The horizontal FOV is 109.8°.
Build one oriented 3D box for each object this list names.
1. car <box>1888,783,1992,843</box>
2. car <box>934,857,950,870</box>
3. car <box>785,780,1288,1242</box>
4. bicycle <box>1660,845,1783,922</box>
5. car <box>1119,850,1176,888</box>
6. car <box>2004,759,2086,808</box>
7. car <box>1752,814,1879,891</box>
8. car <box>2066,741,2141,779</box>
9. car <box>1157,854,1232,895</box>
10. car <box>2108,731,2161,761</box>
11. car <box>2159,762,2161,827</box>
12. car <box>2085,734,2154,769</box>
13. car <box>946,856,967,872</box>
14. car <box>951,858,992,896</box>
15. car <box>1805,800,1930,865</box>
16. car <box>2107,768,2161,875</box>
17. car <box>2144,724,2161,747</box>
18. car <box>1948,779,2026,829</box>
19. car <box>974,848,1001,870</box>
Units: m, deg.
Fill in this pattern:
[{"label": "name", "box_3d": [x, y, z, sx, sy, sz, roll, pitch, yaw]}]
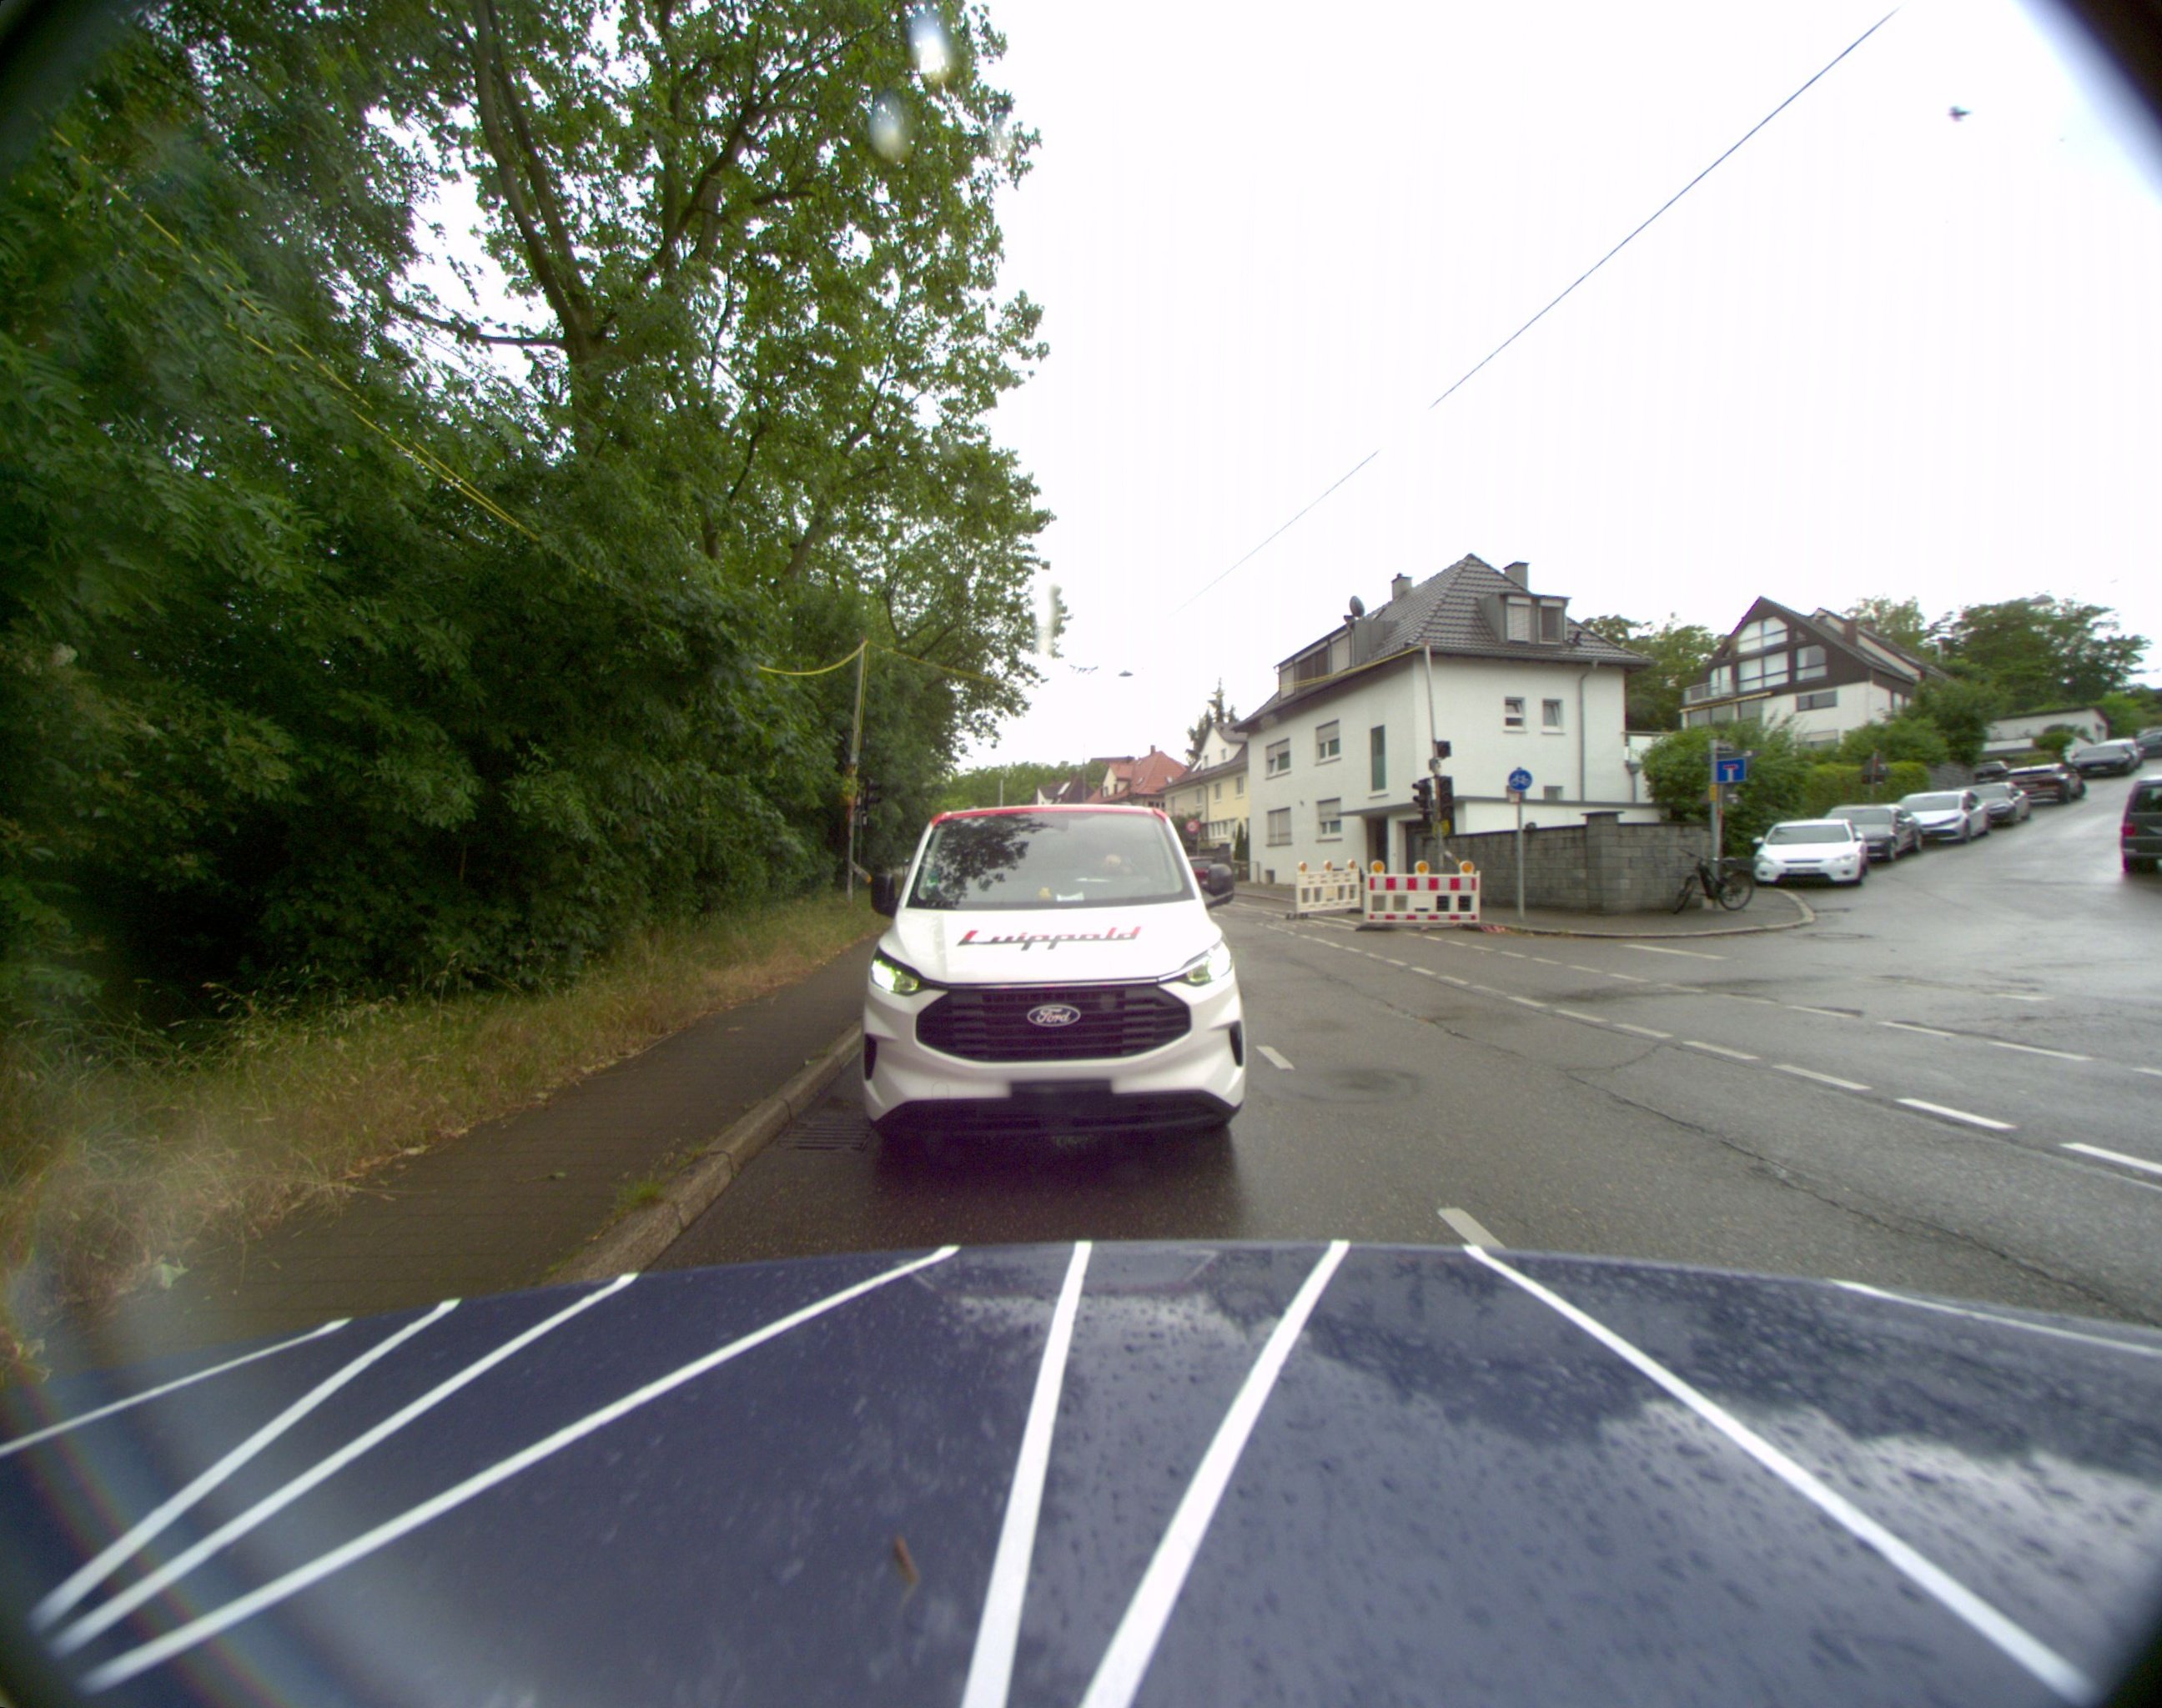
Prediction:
[{"label": "car", "box_3d": [27.225, -1.312, 24.067, 3.859, 1.458, 1.579, -8, 4, -32]}, {"label": "car", "box_3d": [-18.861, 1.269, 103.000, 1.767, 1.519, 3.585, -2, 1, -17]}, {"label": "car", "box_3d": [-0.150, 0.640, 5.805, 2.045, 1.883, 5.208, -2, 1, 1]}, {"label": "bicycle", "box_3d": [11.718, 0.513, 13.925, 1.732, 1.304, 0.707, -2, 1, -7]}, {"label": "car", "box_3d": [2.966, 0.711, 34.733, 1.670, 1.579, 4.004, -3, -2, -8]}, {"label": "car", "box_3d": [40.533, -2.963, 31.938, 3.988, 1.547, 1.333, -9, 3, -26]}, {"label": "car", "box_3d": [17.608, -0.051, 18.173, 3.566, 1.458, 1.746, -7, 2, -39]}, {"label": "car", "box_3d": [54.618, -5.038, 40.573, 3.834, 1.492, 1.733, -9, 3, -26]}, {"label": "car", "box_3d": [4.376, 0.829, 29.901, 1.898, 1.485, 3.795, -1, -2, -8]}, {"label": "car", "box_3d": [68.140, -6.958, 48.096, 1.582, 1.492, 3.607, -10, 4, -34]}, {"label": "car", "box_3d": [32.912, -1.921, 21.866, 3.416, 1.827, 1.917, -9, 3, -31]}, {"label": "car", "box_3d": [60.415, -5.966, 44.212, 3.834, 1.492, 1.733, -9, 3, -26]}, {"label": "car", "box_3d": [-15.430, 1.202, 94.031, 2.001, 1.850, 4.354, -2, 1, -17]}, {"label": "car", "box_3d": [-5.046, 1.060, 35.132, 1.670, 1.579, 4.004, -3, -2, -8]}, {"label": "car", "box_3d": [22.491, -0.639, 21.699, 3.859, 1.458, 1.700, -7, 2, -32]}, {"label": "car", "box_3d": [23.522, -0.790, 15.997, 3.801, 1.926, 1.911, -9, 3, -31]}, {"label": "car", "box_3d": [81.259, -8.936, 55.755, 1.624, 1.492, 3.514, -9, 3, -24]}, {"label": "car", "box_3d": [32.176, -1.787, 26.966, 3.508, 1.383, 1.333, -8, 4, -32]}, {"label": "car", "box_3d": [-9.421, 0.499, 76.106, 2.001, 2.002, 3.994, -2, 1, -17]}]
